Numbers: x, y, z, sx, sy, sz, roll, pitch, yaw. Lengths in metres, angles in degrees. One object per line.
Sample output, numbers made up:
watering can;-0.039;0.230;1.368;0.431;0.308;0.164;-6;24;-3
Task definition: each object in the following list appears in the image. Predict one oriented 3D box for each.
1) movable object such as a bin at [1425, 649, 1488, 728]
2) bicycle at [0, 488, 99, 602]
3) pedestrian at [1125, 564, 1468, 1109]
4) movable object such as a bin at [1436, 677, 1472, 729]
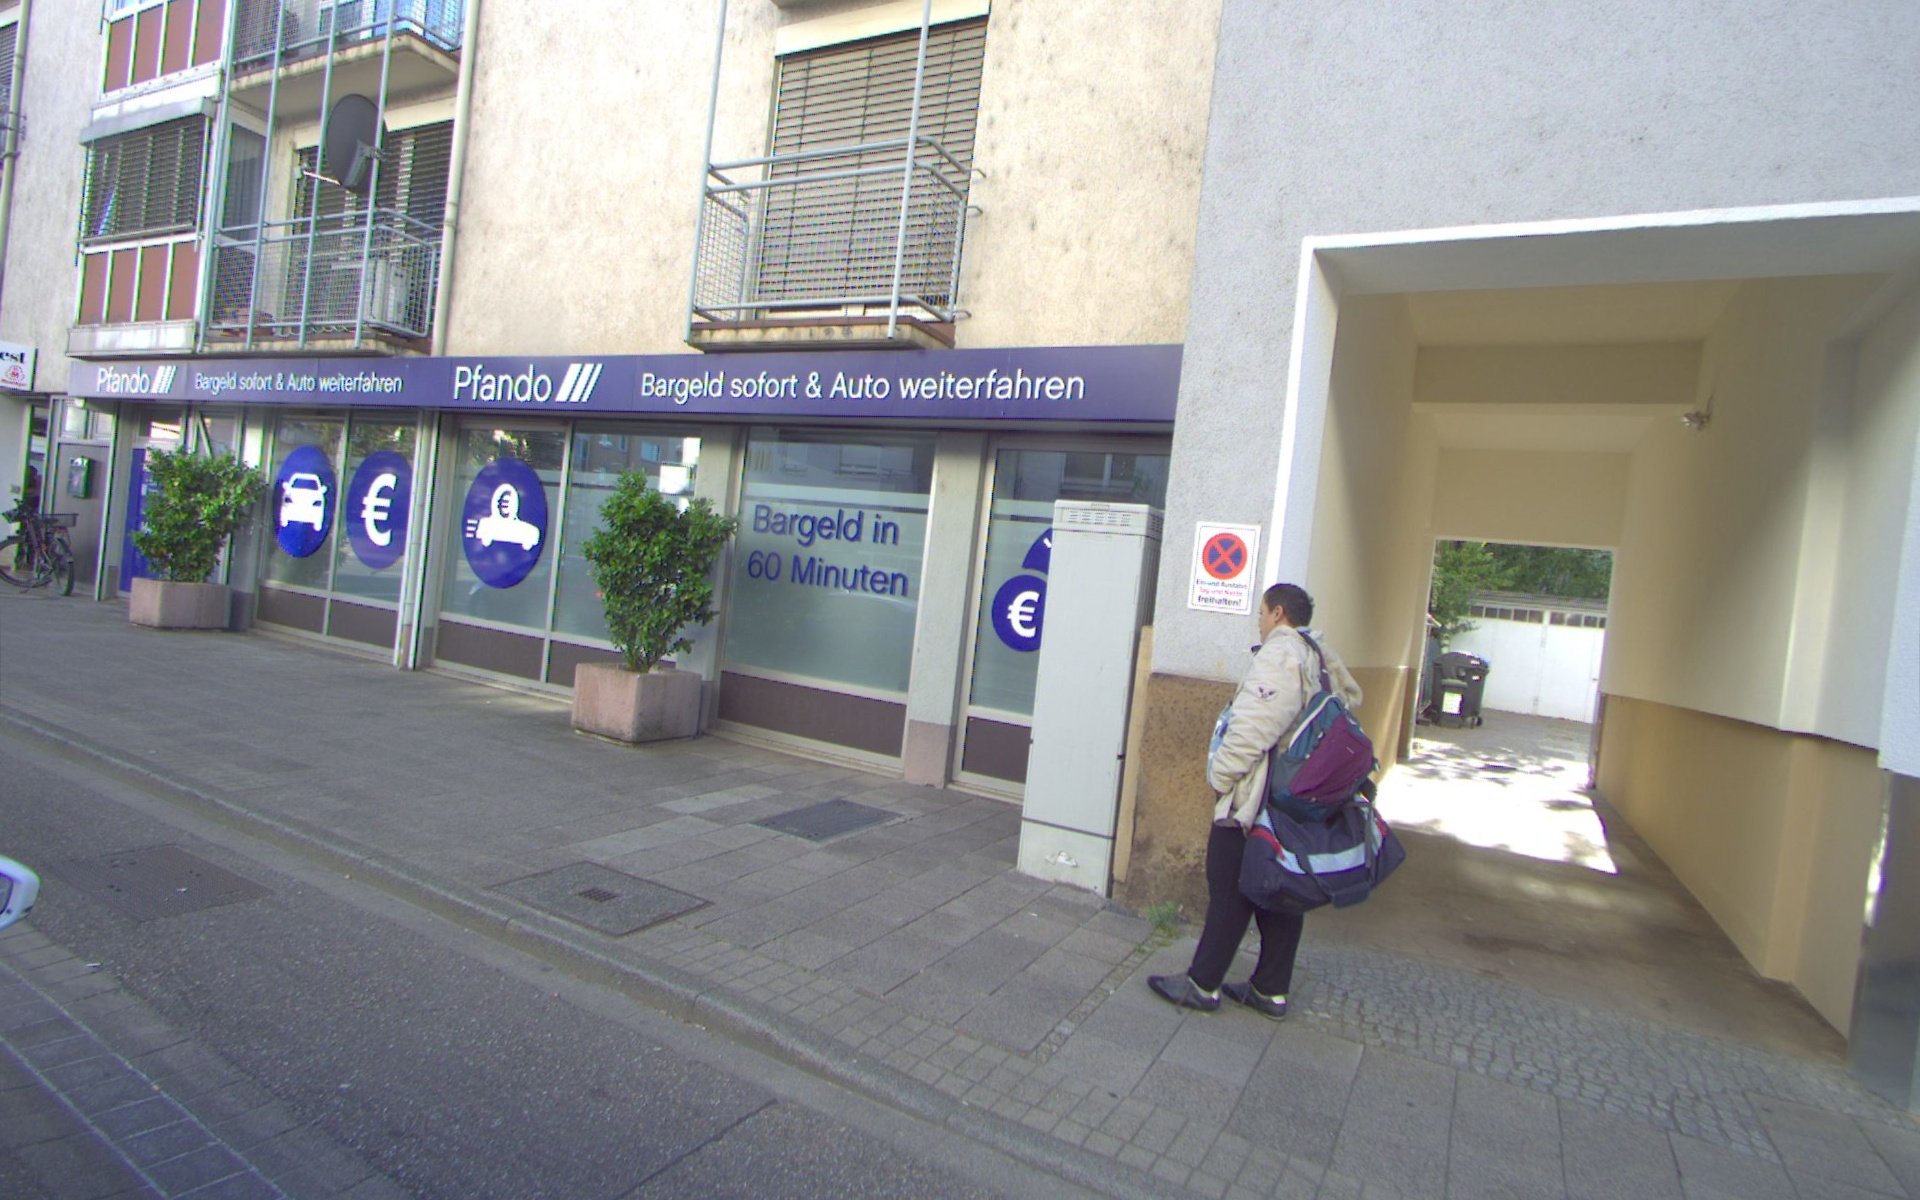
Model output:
movable object such as a bin;10.107;1.784;20.456;0.945;1.426;1.598;7;1;29
bicycle;-11.849;-0.731;12.879;1.879;1.280;0.640;7;1;32
pedestrian;1.235;0.729;3.626;0.853;1.593;0.874;8;3;29
movable object such as a bin;9.556;1.977;19.453;0.518;0.922;0.580;7;1;29
